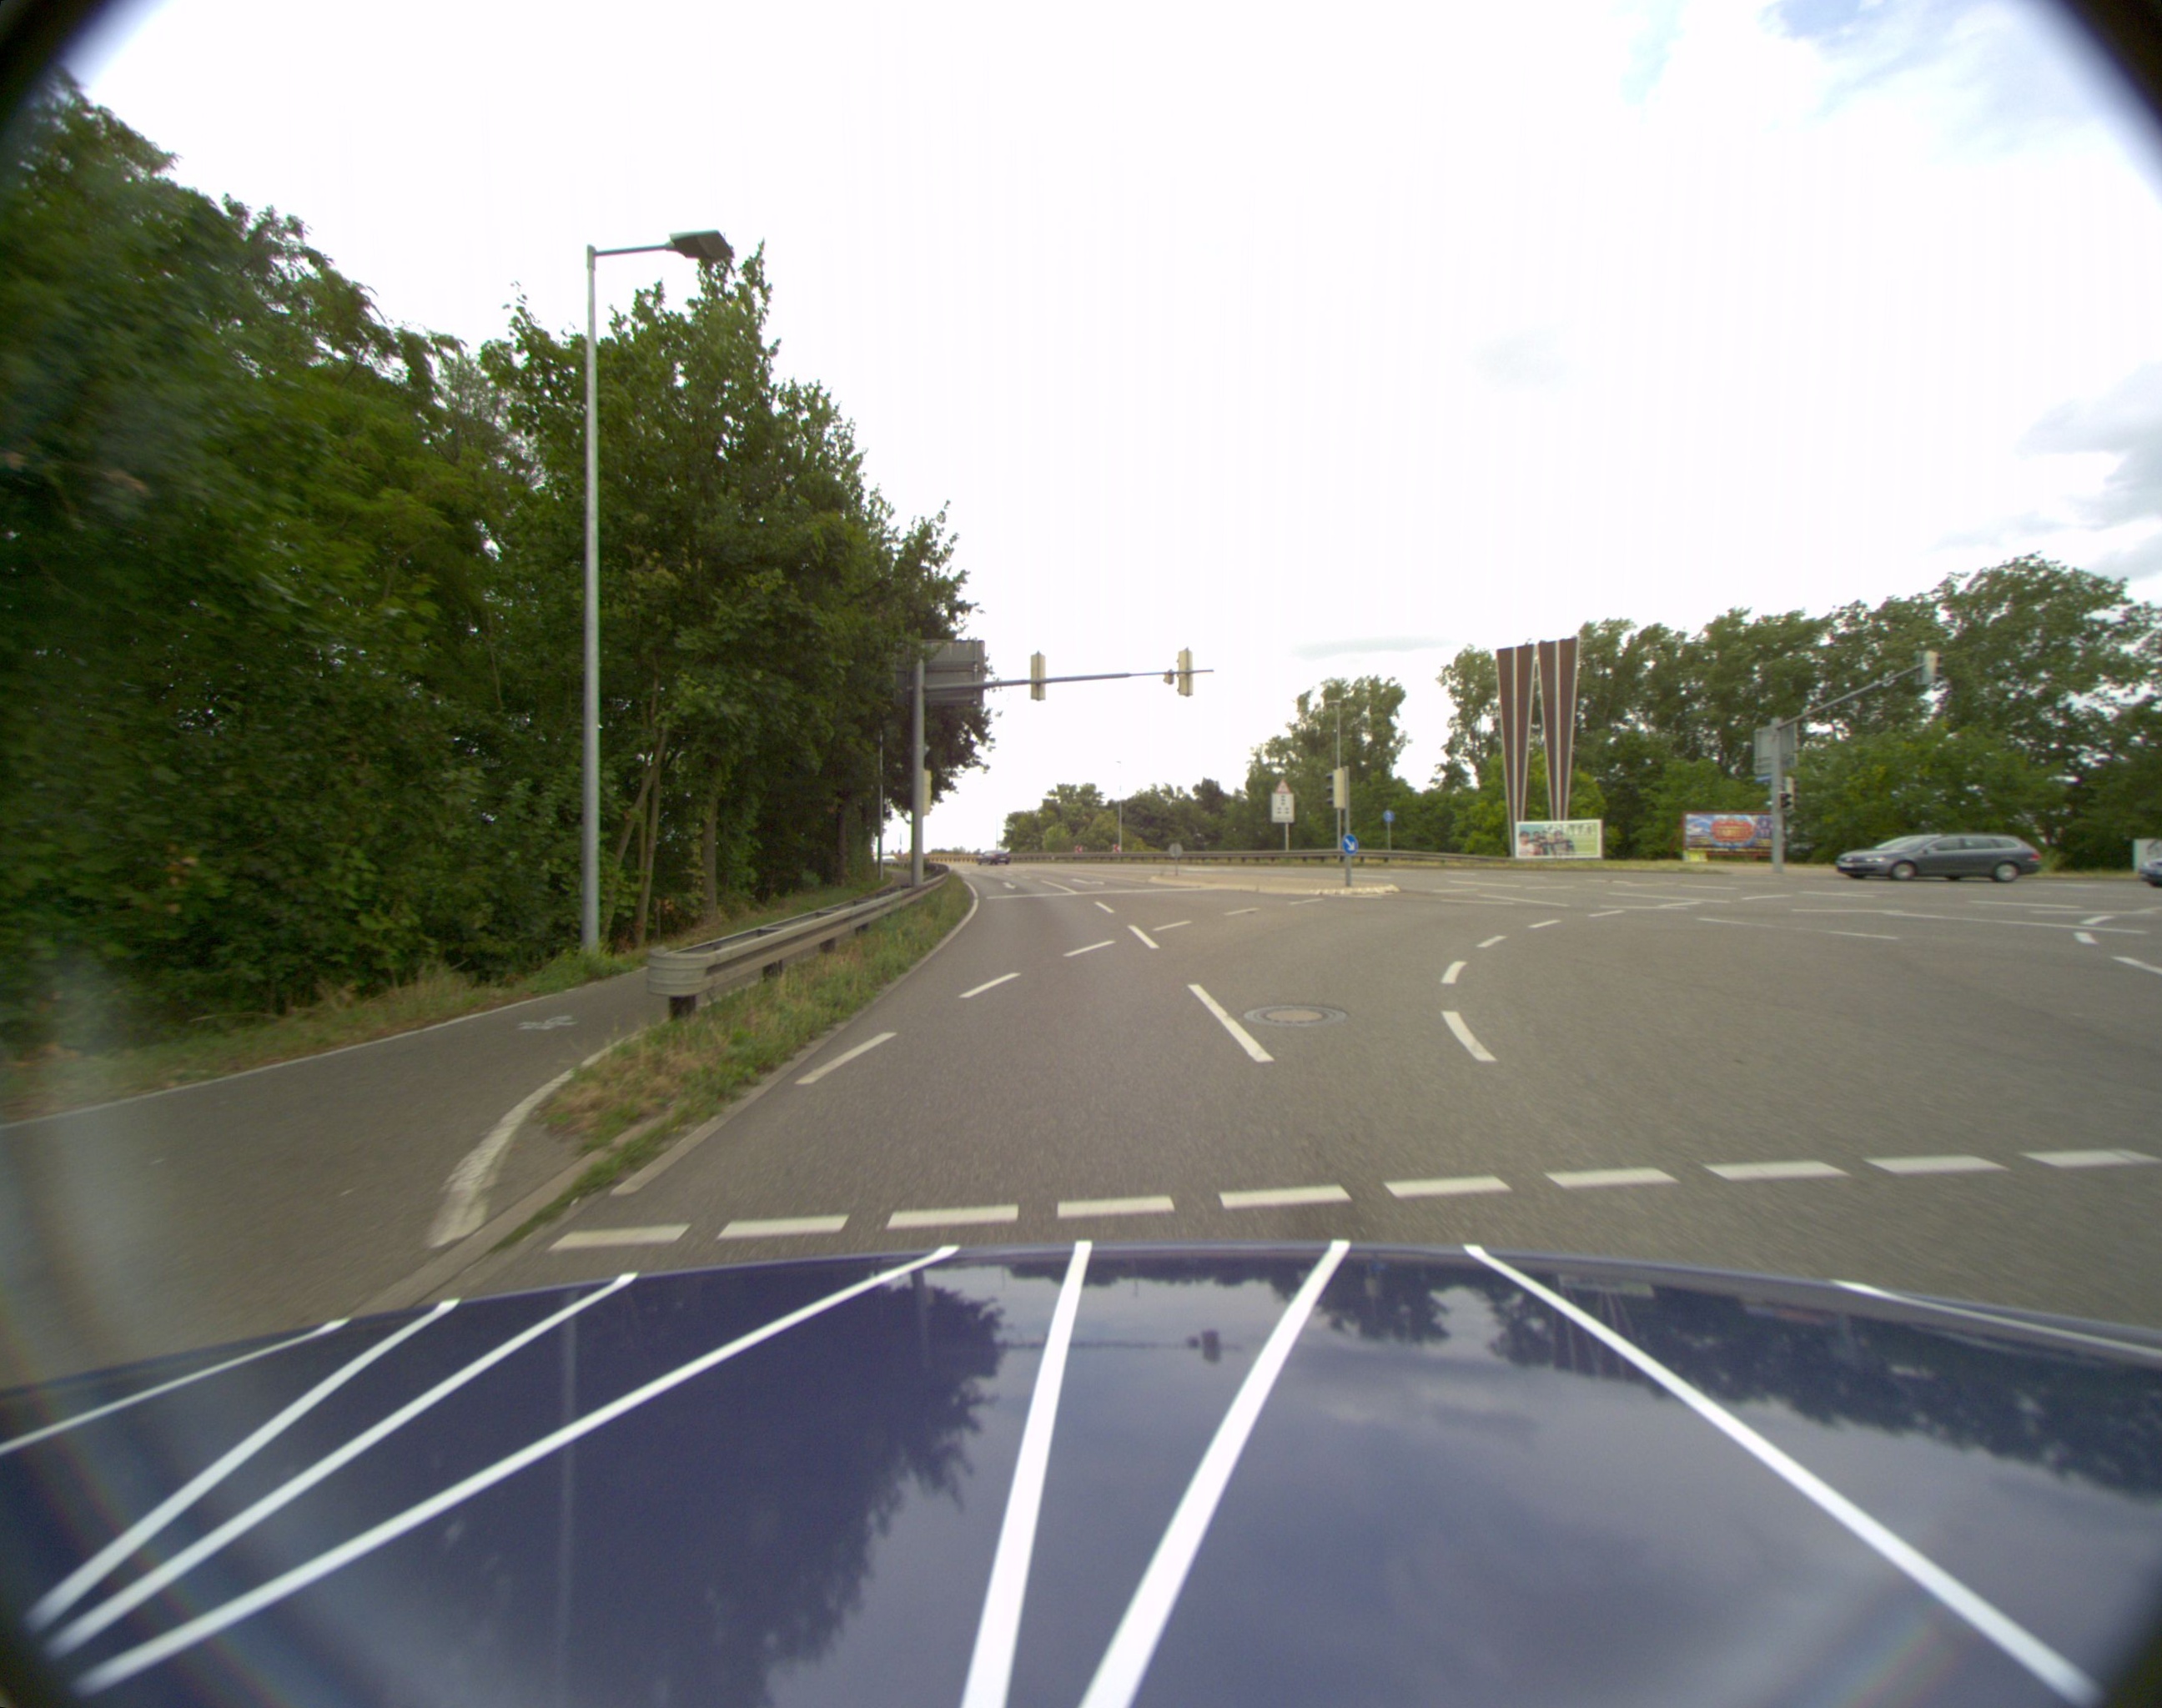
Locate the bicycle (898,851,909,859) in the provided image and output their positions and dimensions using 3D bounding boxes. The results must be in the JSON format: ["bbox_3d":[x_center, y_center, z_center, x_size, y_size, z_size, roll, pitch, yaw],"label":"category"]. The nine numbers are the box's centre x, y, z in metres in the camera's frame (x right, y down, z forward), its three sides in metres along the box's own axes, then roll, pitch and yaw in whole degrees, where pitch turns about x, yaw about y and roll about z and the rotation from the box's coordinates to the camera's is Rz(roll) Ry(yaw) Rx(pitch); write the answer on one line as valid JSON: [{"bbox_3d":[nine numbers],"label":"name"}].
[{"bbox_3d":[-24.134,0.176,103.535,1.805,1.039,0.495,0,1,42],"label":"bicycle"}]

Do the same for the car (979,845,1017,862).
[{"bbox_3d":[-7.497,-0.065,68.146,2.002,1.447,4.644,-1,1,-25],"label":"car"}]

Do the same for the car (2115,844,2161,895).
[{"bbox_3d":[29.888,0.369,19.542,3.803,1.302,2.000,-1,1,1],"label":"car"}]

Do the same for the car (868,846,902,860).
[{"bbox_3d":[-21.408,-0.139,82.950,1.943,1.448,3.874,3,-1,-43],"label":"car"}]

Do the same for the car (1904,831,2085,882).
[{"bbox_3d":[34.078,0.070,28.464,4.253,1.772,1.928,-1,1,4],"label":"car"}]

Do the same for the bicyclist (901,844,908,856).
[{"bbox_3d":[-24.080,-0.526,103.520,0.755,1.531,0.613,0,1,41],"label":"bicyclist"}]

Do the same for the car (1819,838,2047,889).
[{"bbox_3d":[26.213,0.284,23.573,4.370,1.480,2.002,-1,1,13],"label":"car"}]
